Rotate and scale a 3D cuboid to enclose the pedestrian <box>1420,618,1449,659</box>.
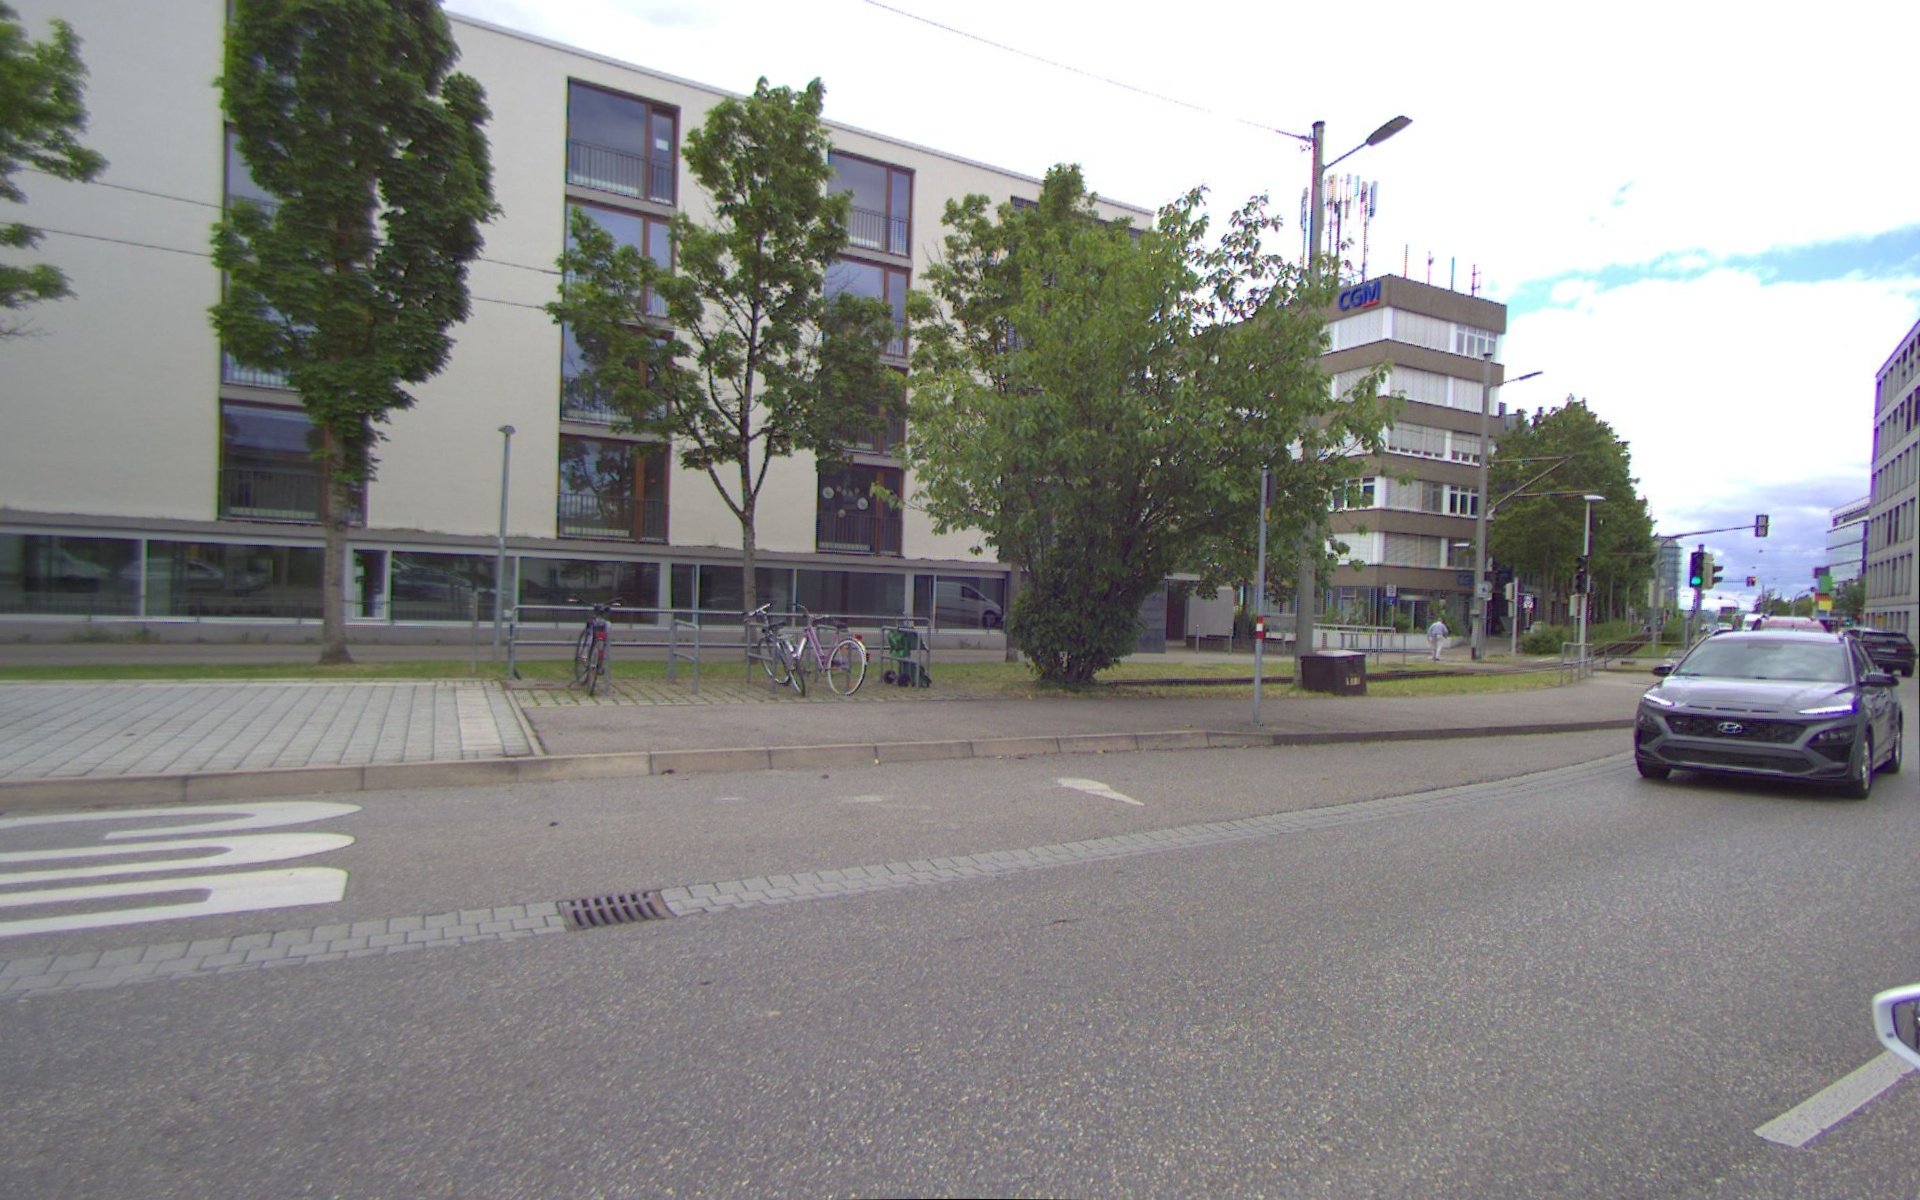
[{"bbox_3d":[18.096,1.464,38.275,0.836,1.547,0.993,1,-1,35],"label":"pedestrian"}]

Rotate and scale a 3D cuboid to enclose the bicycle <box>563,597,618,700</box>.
[{"bbox_3d":[-4.317,0.533,11.687,0.391,1.039,1.680,2,2,-27],"label":"bicycle"}]

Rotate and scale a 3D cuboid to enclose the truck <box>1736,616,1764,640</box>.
[{"bbox_3d":[90.153,3.152,114.704,2.136,2.650,5.777,2,0,35],"label":"truck"}]

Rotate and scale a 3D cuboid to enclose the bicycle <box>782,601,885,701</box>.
[{"bbox_3d":[-1.636,0.616,12.816,0.405,1.103,1.689,1,2,-41],"label":"bicycle"}]

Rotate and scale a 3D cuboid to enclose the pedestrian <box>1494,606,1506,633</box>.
[{"bbox_3d":[42.233,1.525,78.571,0.672,2.040,0.569,1,0,36],"label":"pedestrian"}]

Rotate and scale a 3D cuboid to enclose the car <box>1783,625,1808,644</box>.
[{"bbox_3d":[80.182,3.287,96.457,1.738,1.630,4.169,2,0,39],"label":"car"}]

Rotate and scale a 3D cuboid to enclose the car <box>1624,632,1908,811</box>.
[{"bbox_3d":[8.581,1.104,10.574,3.971,1.498,1.752,2,-2,-42],"label":"car"}]

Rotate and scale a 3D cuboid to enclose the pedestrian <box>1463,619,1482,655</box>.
[{"bbox_3d":[24.559,1.766,48.100,0.679,1.728,0.680,0,-1,38],"label":"pedestrian"}]

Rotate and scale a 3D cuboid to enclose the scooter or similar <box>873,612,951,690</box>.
[{"bbox_3d":[-0.675,0.693,14.027,0.766,1.023,0.781,2,0,-36],"label":"scooter or similar"}]

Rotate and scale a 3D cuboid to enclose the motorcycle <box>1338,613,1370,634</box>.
[{"bbox_3d":[23.977,1.398,61.140,0.561,1.215,1.872,2,0,-27],"label":"motorcycle"}]

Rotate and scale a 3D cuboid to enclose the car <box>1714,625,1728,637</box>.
[{"bbox_3d":[123.419,5.027,162.924,1.645,1.907,3.985,2,0,37],"label":"car"}]

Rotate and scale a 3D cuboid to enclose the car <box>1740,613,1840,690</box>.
[{"bbox_3d":[21.728,1.299,26.436,1.658,1.832,4.338,0,-1,35],"label":"car"}]

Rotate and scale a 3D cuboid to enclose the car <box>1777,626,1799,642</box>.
[{"bbox_3d":[91.169,3.731,110.600,1.738,1.630,4.169,2,0,39],"label":"car"}]

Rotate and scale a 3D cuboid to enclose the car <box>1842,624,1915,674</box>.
[{"bbox_3d":[33.636,1.752,36.874,1.738,1.630,4.168,2,0,40],"label":"car"}]

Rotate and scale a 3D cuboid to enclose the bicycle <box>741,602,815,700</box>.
[{"bbox_3d":[-2.297,0.602,12.528,0.403,1.060,1.742,2,2,-27],"label":"bicycle"}]
